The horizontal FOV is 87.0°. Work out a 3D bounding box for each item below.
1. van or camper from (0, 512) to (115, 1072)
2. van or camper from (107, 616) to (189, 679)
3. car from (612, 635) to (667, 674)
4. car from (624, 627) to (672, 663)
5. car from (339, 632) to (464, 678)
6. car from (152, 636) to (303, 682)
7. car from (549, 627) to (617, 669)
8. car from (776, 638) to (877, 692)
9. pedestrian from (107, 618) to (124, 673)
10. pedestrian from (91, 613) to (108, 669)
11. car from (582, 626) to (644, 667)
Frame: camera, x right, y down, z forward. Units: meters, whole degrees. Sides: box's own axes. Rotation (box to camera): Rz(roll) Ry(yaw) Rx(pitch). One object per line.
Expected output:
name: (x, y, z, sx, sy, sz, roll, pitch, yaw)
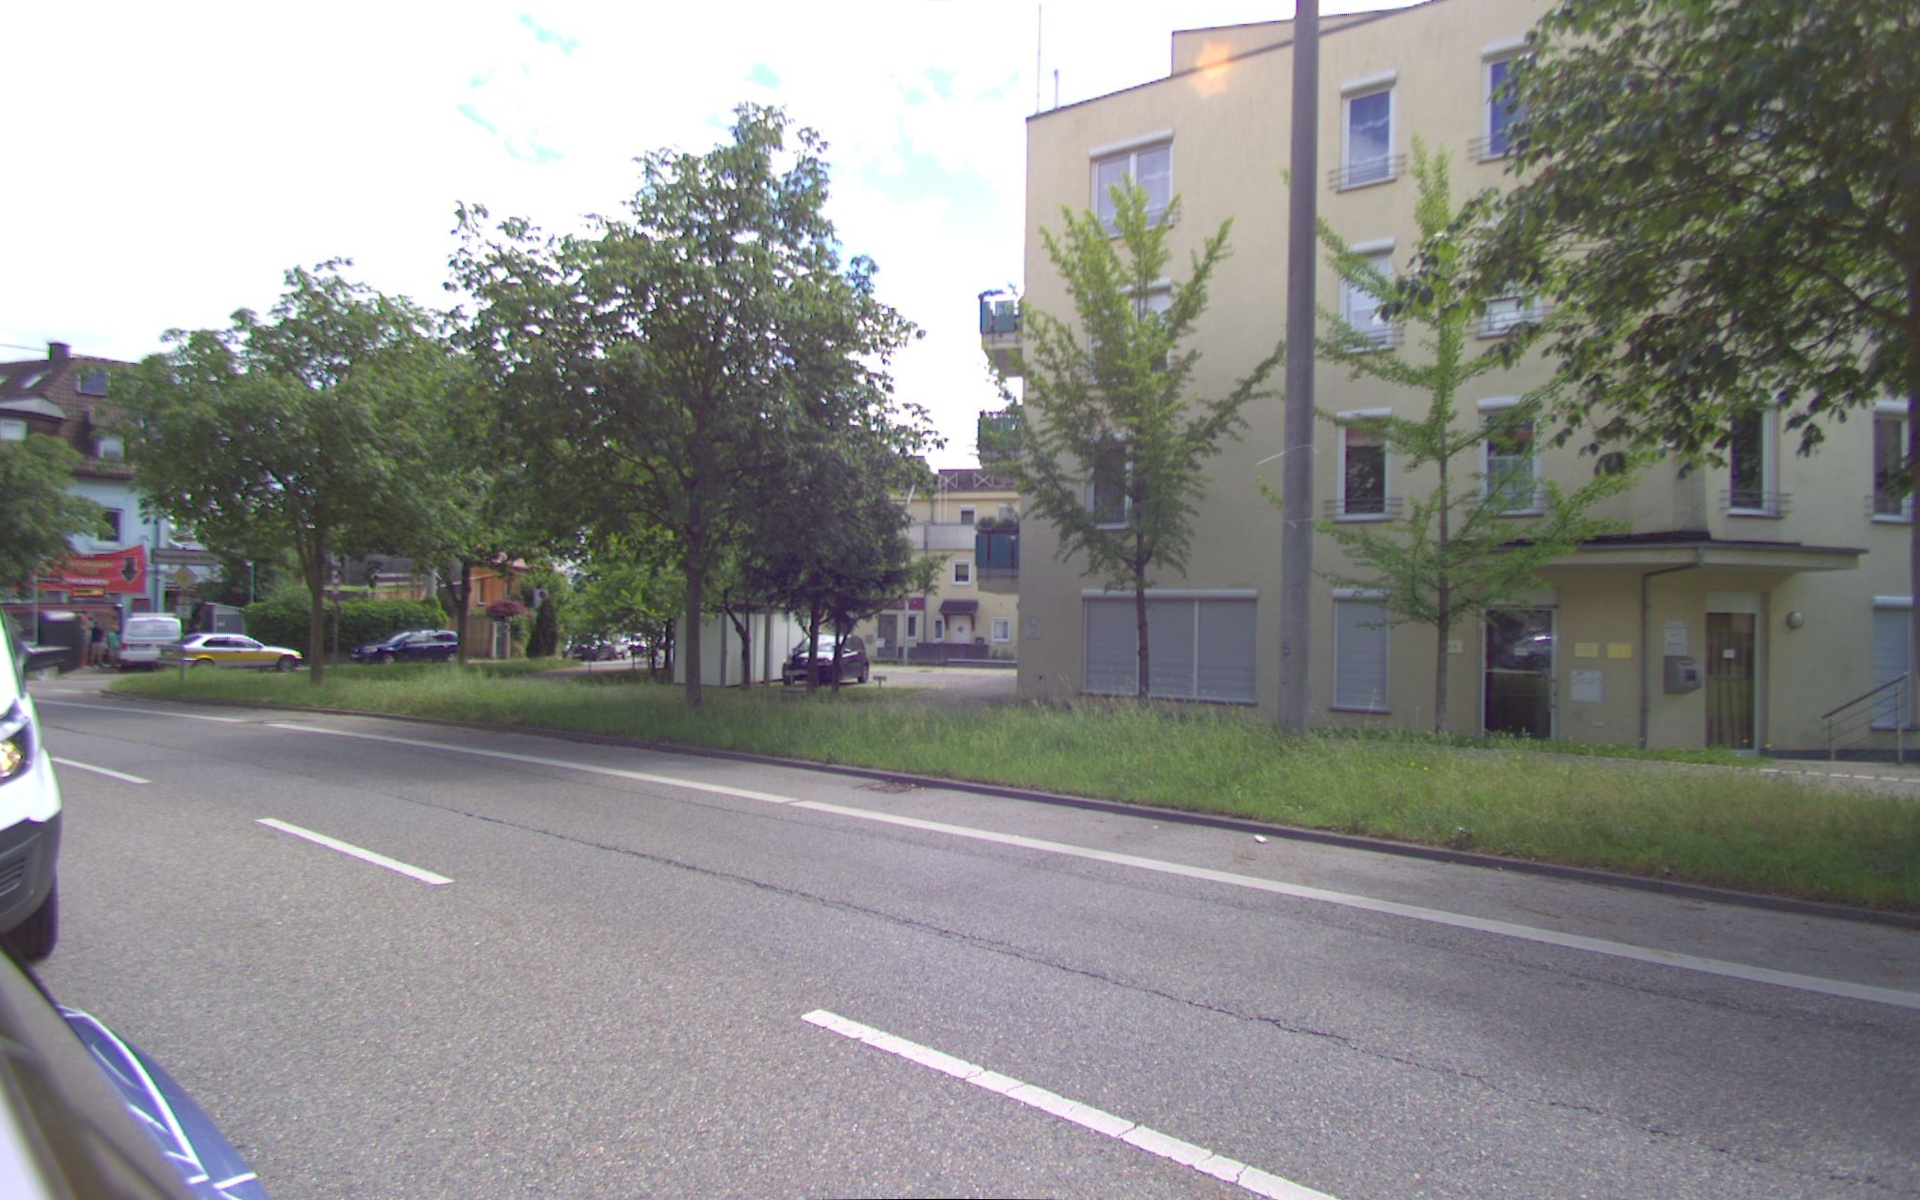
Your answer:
van or camper: (-5.861, 0.729, 4.827, 5.100, 2.029, 2.001, -2, -3, 41)
van or camper: (-29.486, 1.666, 36.708, 3.811, 2.105, 1.770, -1, 0, 43)
car: (-18.698, 3.144, 59.258, 1.972, 2.029, 4.000, -1, 0, 0)
car: (-19.677, 2.796, 63.977, 1.871, 2.029, 4.001, -1, 0, -2)
car: (-21.753, 2.095, 39.551, 1.715, 1.695, 3.928, 0, -2, 37)
car: (-25.319, 2.007, 35.144, 1.529, 1.332, 4.008, -1, 0, 27)
car: (-18.933, 2.386, 50.969, 1.953, 2.029, 4.000, 0, -2, 0)
car: (-3.800, 1.836, 29.413, 1.774, 1.431, 3.986, -1, -2, 11)
pedestrian: (-31.410, 1.673, 37.646, 0.443, 2.005, 0.378, -1, 0, 41)
pedestrian: (-31.756, 1.504, 37.348, 0.363, 2.029, 0.419, -1, 0, 41)
car: (-18.829, 2.481, 55.113, 1.972, 2.029, 3.999, -1, 0, 0)
